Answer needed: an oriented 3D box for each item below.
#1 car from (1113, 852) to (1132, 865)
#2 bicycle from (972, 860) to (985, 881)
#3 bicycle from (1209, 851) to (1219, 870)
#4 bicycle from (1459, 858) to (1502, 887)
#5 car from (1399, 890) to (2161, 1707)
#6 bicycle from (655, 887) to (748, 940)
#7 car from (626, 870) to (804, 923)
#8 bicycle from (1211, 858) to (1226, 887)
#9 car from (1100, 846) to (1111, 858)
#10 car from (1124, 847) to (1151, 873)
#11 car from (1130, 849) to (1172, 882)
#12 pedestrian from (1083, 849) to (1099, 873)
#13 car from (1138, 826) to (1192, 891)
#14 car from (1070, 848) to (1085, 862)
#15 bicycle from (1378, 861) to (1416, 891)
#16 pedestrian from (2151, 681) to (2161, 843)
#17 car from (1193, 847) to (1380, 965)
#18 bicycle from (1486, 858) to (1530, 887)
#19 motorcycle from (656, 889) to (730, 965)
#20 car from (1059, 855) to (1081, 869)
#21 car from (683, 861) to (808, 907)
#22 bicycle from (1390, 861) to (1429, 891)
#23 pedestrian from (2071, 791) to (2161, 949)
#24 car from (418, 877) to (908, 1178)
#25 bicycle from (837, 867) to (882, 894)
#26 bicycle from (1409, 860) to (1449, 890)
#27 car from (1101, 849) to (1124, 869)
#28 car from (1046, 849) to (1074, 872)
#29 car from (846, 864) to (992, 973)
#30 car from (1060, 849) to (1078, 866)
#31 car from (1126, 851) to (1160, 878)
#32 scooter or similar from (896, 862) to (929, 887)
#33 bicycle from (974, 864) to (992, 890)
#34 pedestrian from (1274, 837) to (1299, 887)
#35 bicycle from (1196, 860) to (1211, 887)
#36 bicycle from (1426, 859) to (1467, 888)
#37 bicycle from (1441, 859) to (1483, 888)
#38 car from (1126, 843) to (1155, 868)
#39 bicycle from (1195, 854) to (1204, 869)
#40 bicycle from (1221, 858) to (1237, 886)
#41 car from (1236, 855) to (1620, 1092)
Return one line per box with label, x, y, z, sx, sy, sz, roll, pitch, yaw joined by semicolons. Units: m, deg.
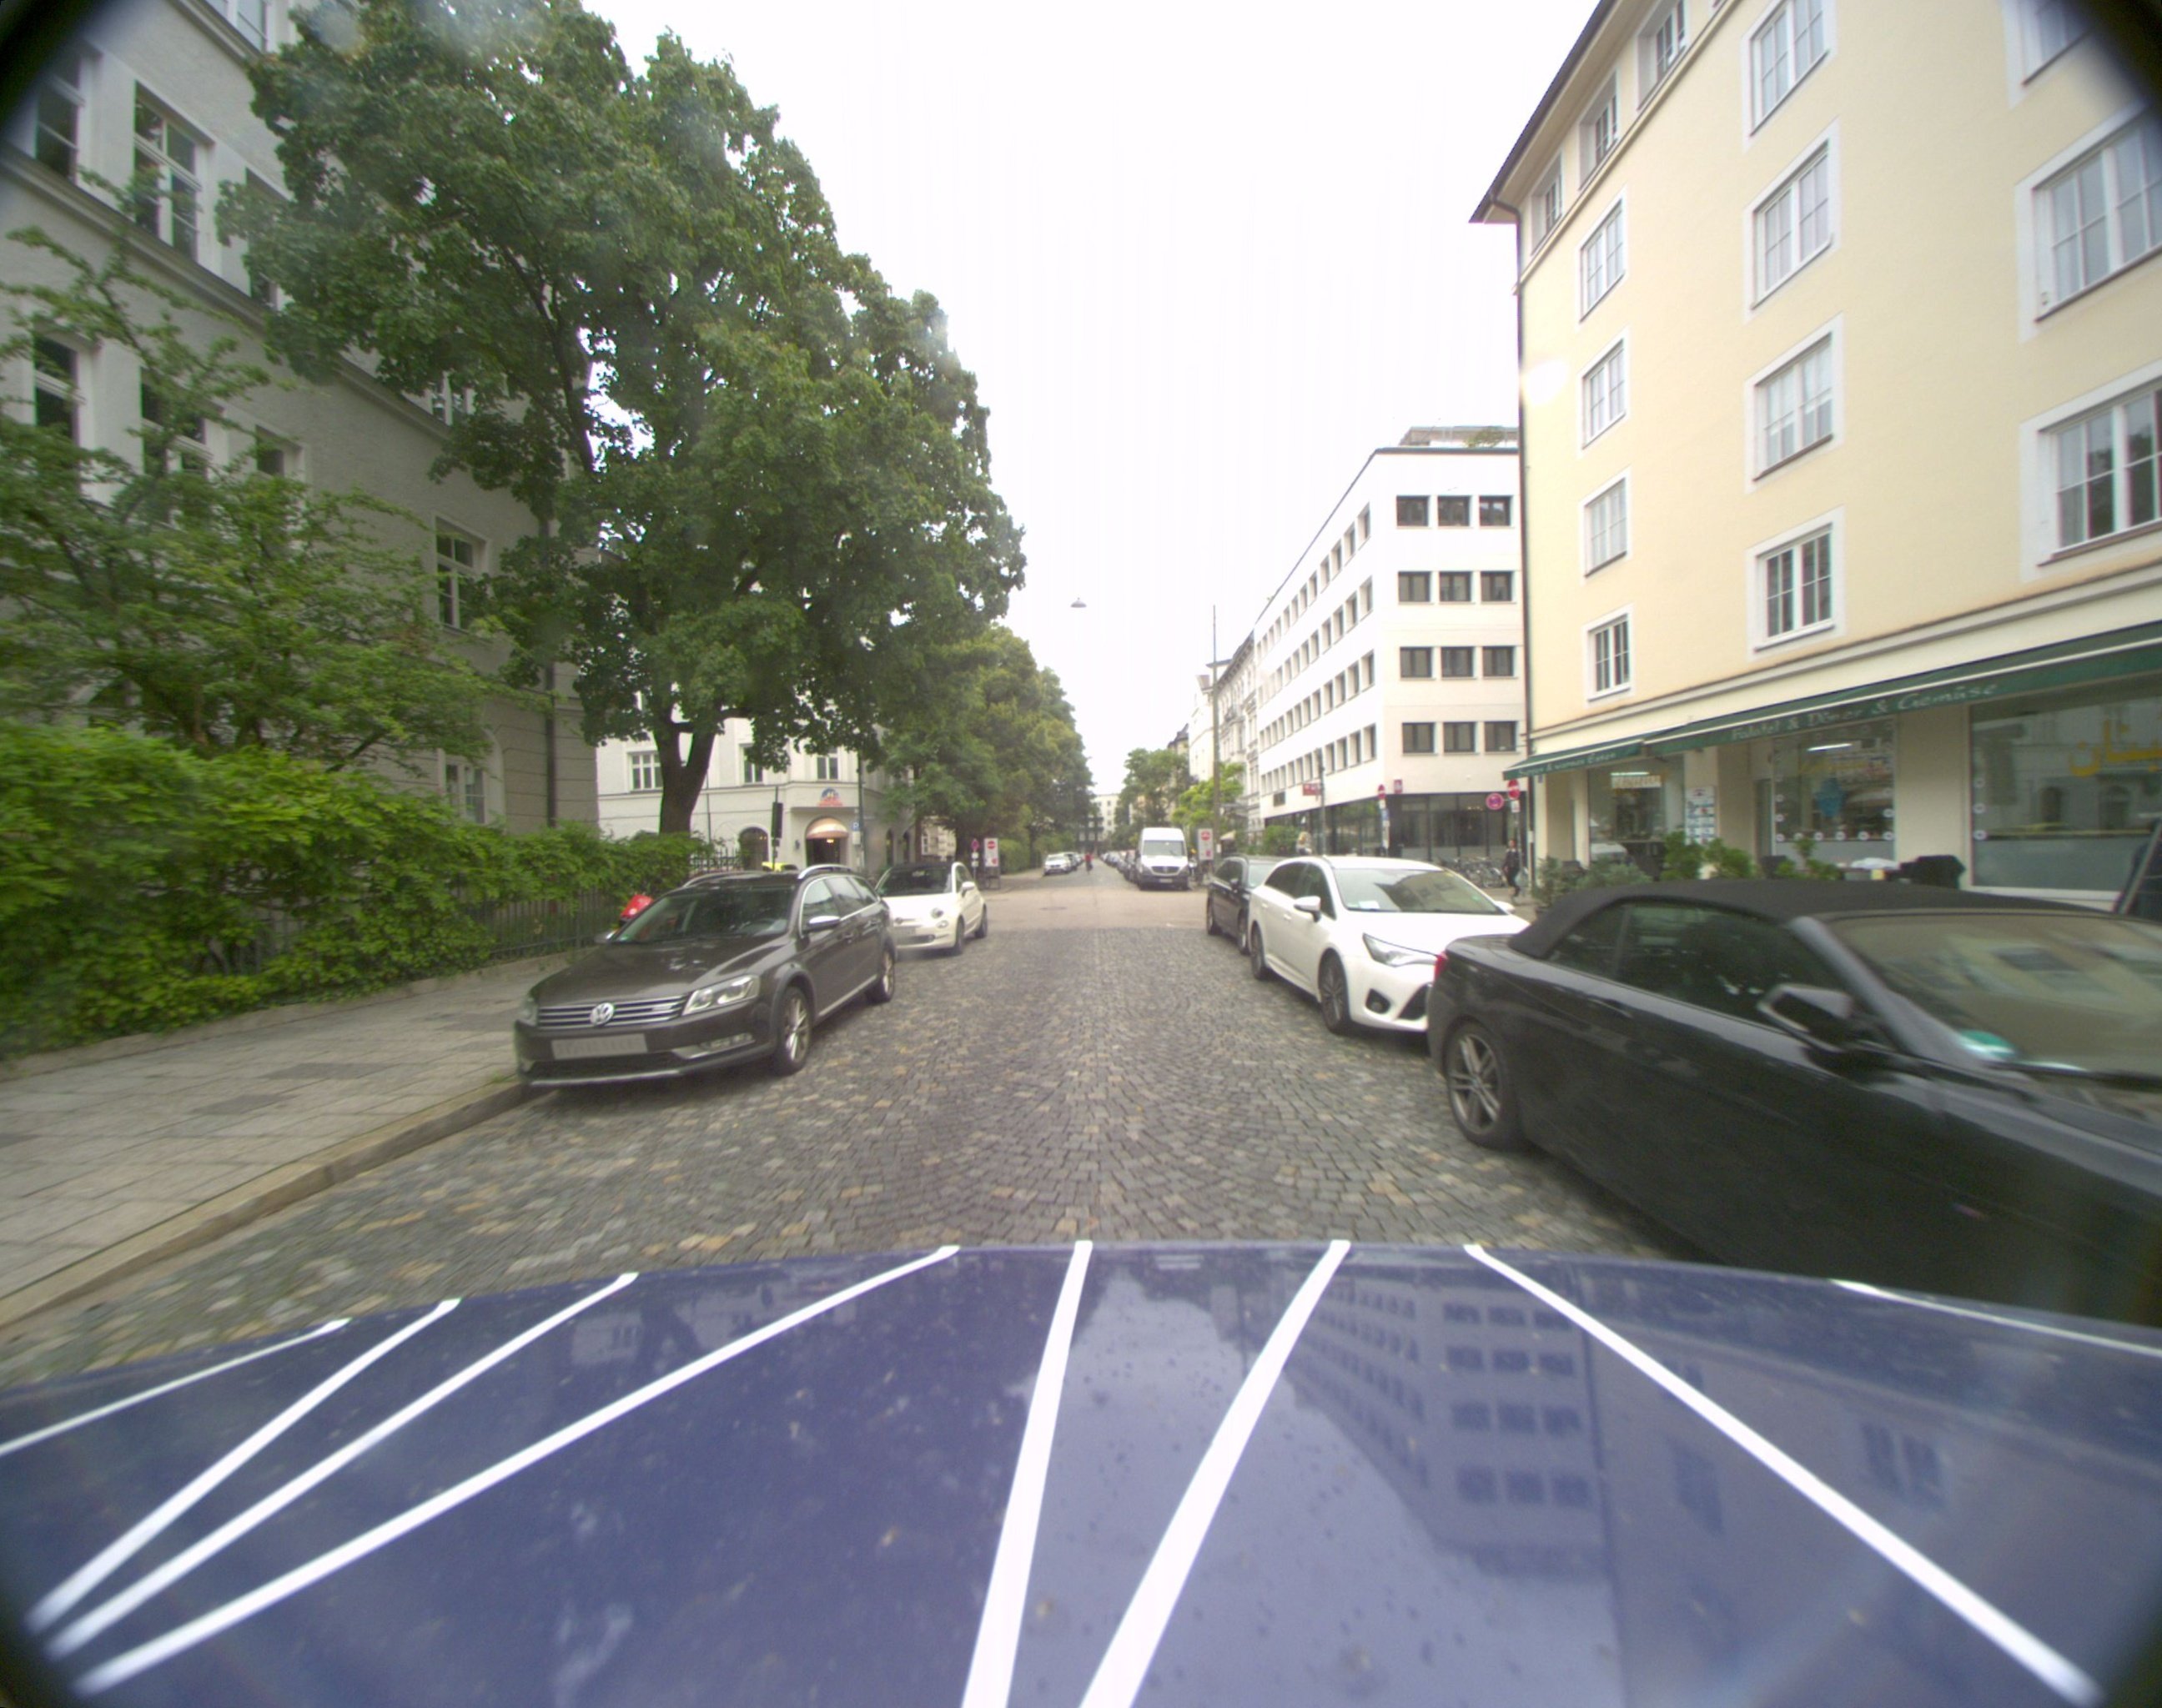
car;4.694;0.492;87.158;1.886;1.411;4.808;-1;0;0
bicycle;-6.001;0.958;44.470;0.428;1.191;1.730;3;1;2
bicycle;8.326;0.393;47.688;0.361;1.168;1.911;-2;1;3
bicycle;14.375;0.659;27.390;0.398;0.963;1.893;-3;1;-5
car;2.856;0.923;2.401;1.778;1.351;4.390;0;1;-1
bicycle;-8.340;1.307;16.727;1.841;1.117;0.563;-1;1;11
car;-10.770;1.240;22.503;4.475;1.350;1.761;-2;0;9
bicycle;5.643;0.756;31.322;0.256;1.120;1.806;-3;1;0
car;4.266;-0.429;132.352;1.762;2.002;4.000;-2;1;2
car;4.003;0.392;54.275;1.722;1.713;3.898;-1;1;1
car;3.467;0.555;38.297;1.666;1.474;3.981;-3;1;-1
pedestrian;0.757;0.506;57.200;1.105;1.768;1.263;-2;1;2
car;3.501;0.147;32.767;1.981;2.559;5.794;0;1;3
car;-0.541;0.100;113.860;1.998;2.002;4.000;-3;1;2
bicycle;11.216;0.768;27.022;0.398;0.963;1.893;-3;1;-5
pedestrian;11.142;-0.931;7.480;0.478;1.633;0.497;-2;1;5
car;3.258;0.712;13.104;1.857;1.577;4.747;-3;1;0
bicycle;15.445;0.650;27.528;0.398;0.963;1.893;-3;1;-5
motorcycle;-6.369;1.169;12.536;0.363;1.084;1.404;-2;1;4
car;-1.088;0.735;74.149;1.924;1.290;4.807;-1;0;-3
car;-13.097;1.160;29.752;4.081;1.588;1.907;-2;1;13
bicycle;11.687;0.761;27.068;0.398;0.963;1.893;-3;1;-5
pedestrian;11.327;0.152;8.169;0.523;1.633;0.629;-3;1;1
car;-2.954;1.081;6.740;1.652;1.414;4.631;-6;1;0
bicycle;-9.251;1.120;31.800;1.605;1.063;0.738;0;4;4
bicycle;12.424;0.730;27.184;0.398;0.963;1.893;-3;1;-5
car;2.609;0.392;63.684;1.694;1.563;4.067;-3;1;0
car;-1.663;0.482;62.296;1.925;1.676;4.633;-2;1;2
car;-2.598;0.974;13.027;1.505;1.462;3.795;-2;1;2
car;-1.370;0.358;88.306;1.818;1.809;4.808;-3;1;0
car;3.519;0.575;43.973;1.730;1.456;4.473;0;0;2
scooter or similar;-8.149;0.976;36.688;1.604;1.166;0.405;-1;2;25
bicycle;-4.557;1.070;35.506;0.389;1.140;1.590;-2;1;8
pedestrian;7.700;0.300;28.544;0.615;1.830;0.813;-2;1;-5
bicycle;5.114;0.792;31.777;0.286;1.085;1.815;-2;1;0
bicycle;13.087;0.683;27.258;0.398;0.963;1.893;-3;1;-5
bicycle;13.658;0.677;27.314;0.398;0.963;1.893;-3;1;-5
car;3.851;0.065;48.961;1.697;1.495;3.778;-2;1;5
bicycle;8.581;0.518;54.976;0.258;1.072;1.686;-3;0;-3
bicycle;6.093;0.735;31.371;0.286;1.085;1.815;-3;1;0
car;2.897;0.843;7.591;1.778;1.527;4.540;-3;1;1
